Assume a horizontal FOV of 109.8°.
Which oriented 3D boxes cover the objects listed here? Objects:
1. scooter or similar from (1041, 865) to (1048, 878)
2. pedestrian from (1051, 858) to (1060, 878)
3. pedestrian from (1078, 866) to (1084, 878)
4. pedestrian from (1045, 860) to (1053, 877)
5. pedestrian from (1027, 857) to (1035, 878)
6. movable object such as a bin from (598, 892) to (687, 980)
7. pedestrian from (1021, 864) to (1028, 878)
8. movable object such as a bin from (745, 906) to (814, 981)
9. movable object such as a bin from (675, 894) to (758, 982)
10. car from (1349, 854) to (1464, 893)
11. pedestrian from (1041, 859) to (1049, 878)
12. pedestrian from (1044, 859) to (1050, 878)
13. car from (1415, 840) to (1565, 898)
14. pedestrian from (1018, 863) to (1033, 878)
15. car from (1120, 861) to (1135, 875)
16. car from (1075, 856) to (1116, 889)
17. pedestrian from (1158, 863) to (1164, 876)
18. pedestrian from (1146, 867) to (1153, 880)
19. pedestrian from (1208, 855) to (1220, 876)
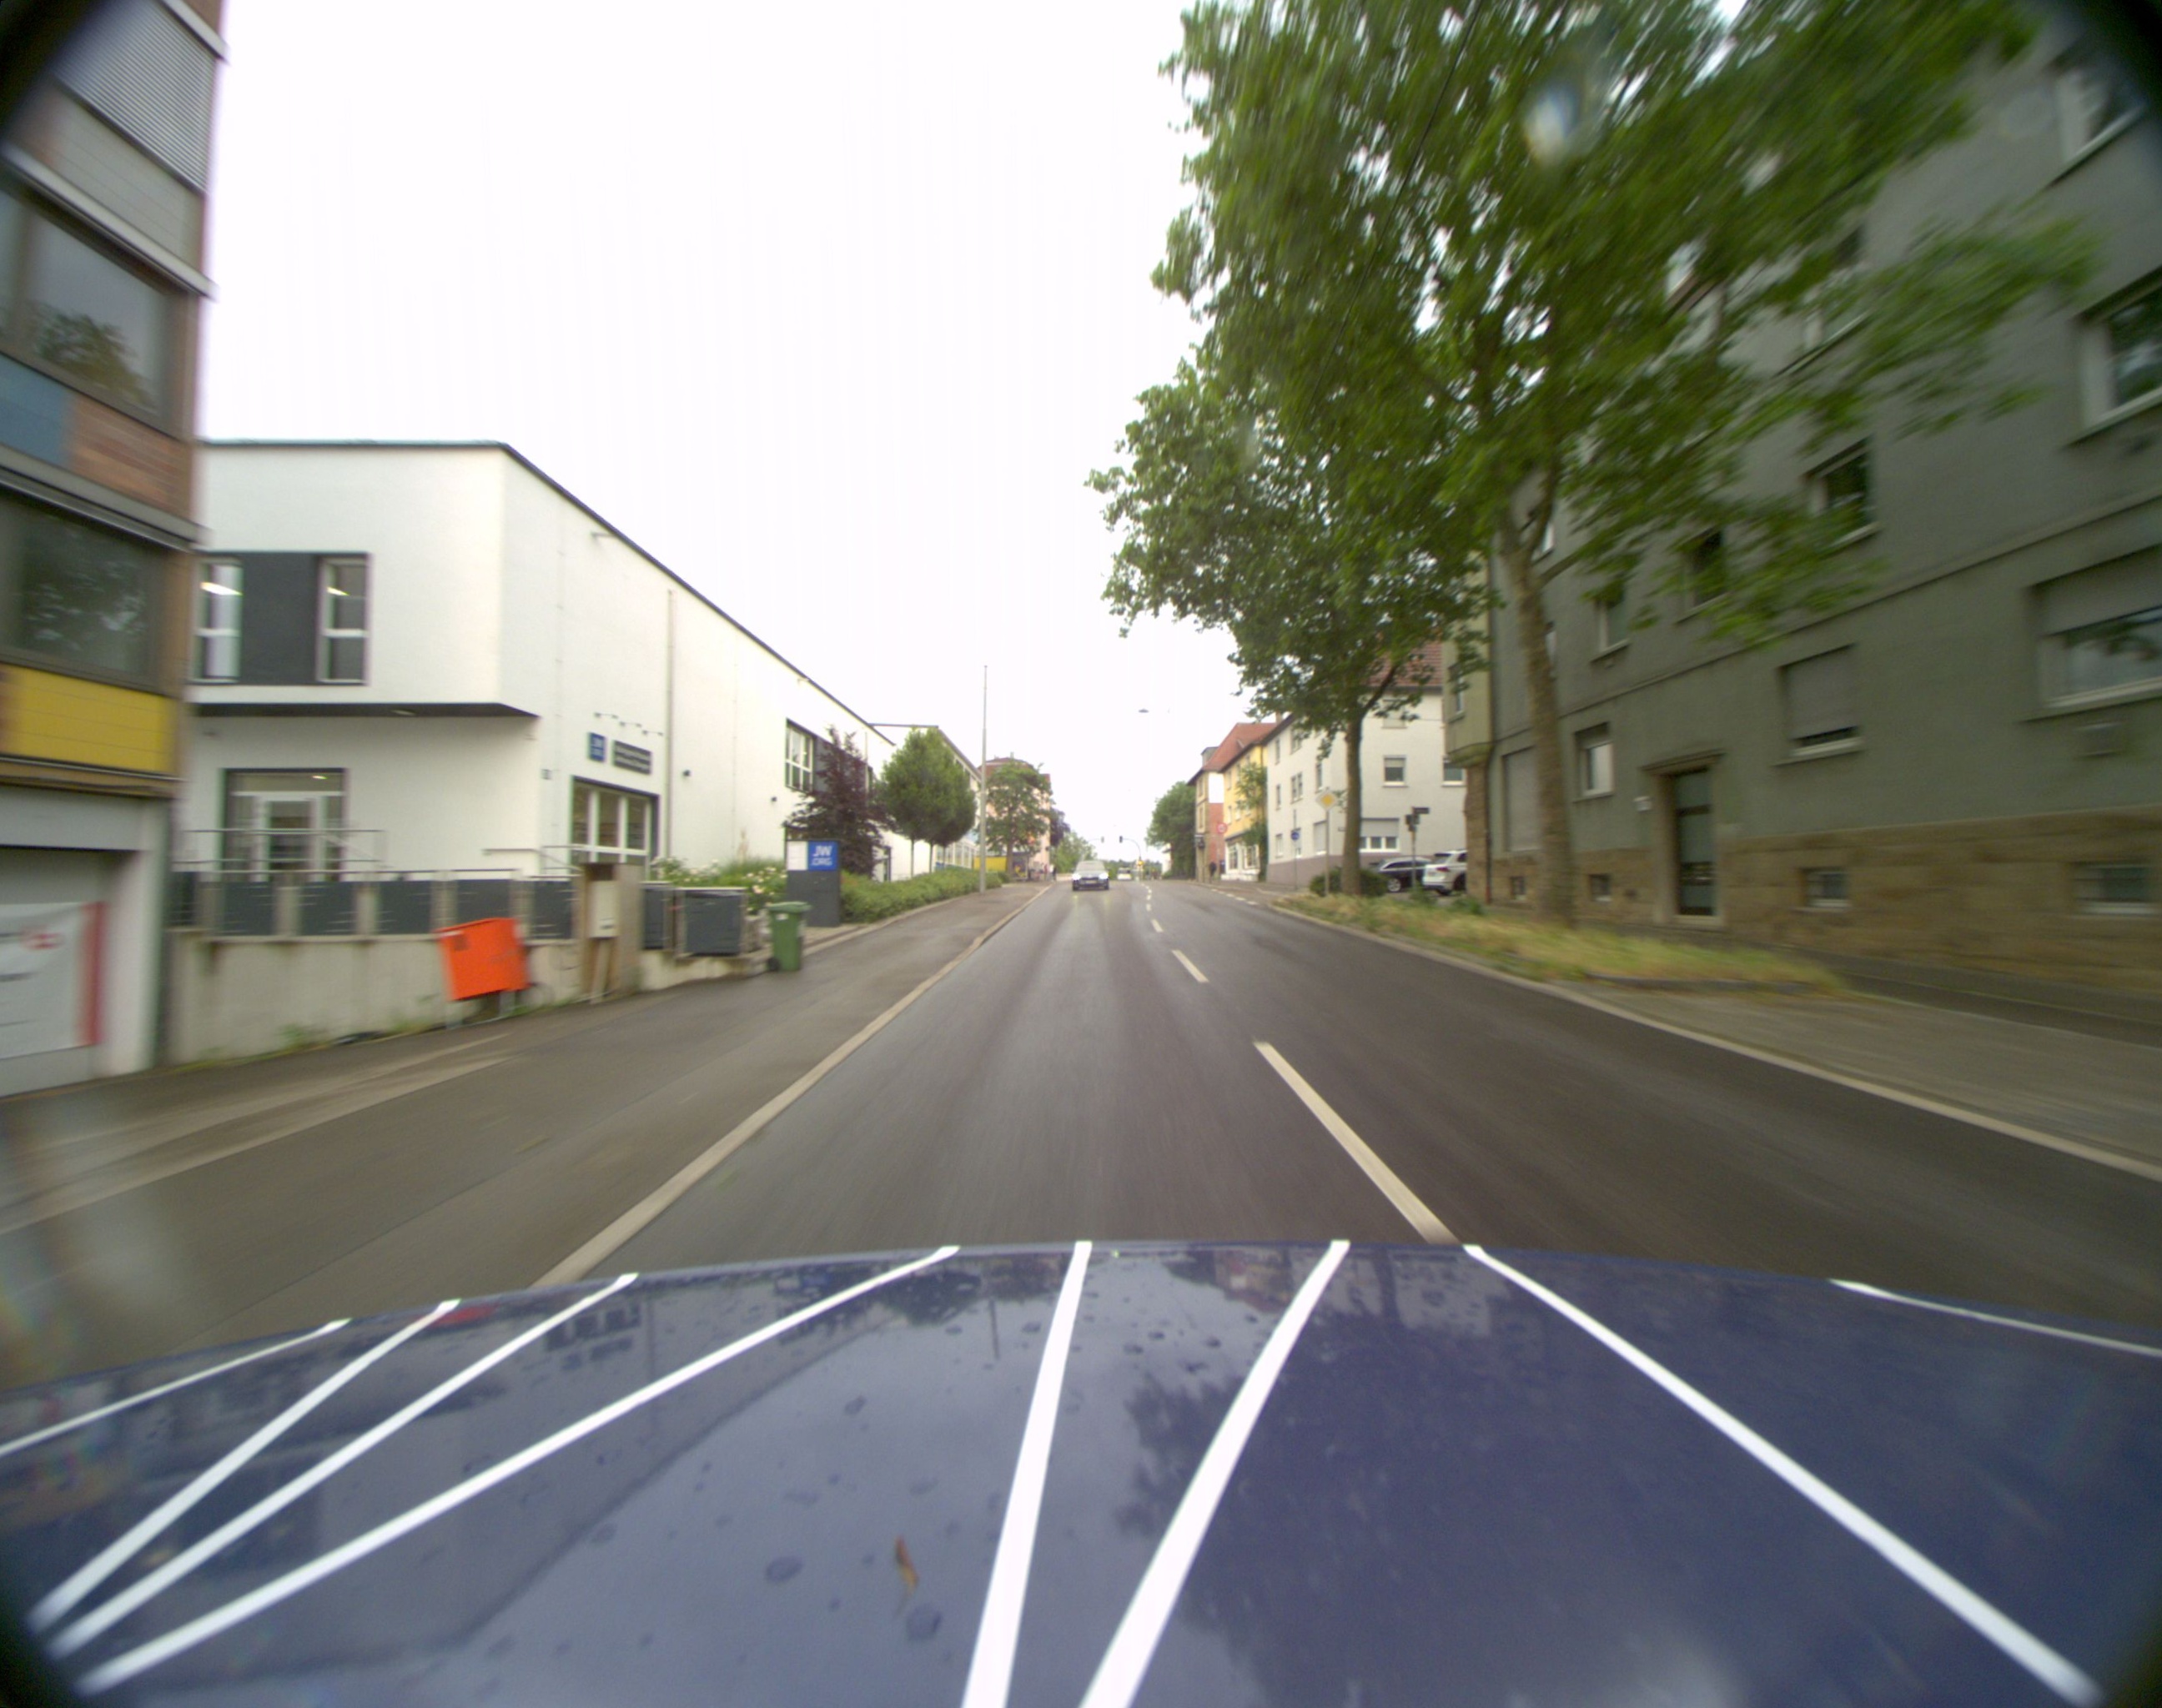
[{"bbox_3d":[-3.379,1.640,70.514,0.619,1.133,0.567,1,-1,-4],"label":"scooter or similar"},{"bbox_3d":[-2.535,1.377,74.677,0.634,1.864,0.486,3,-1,-42],"label":"pedestrian"},{"bbox_3d":[-0.040,2.458,104.405,0.786,1.632,1.222,-2,-1,1],"label":"pedestrian"},{"bbox_3d":[-3.095,1.402,74.280,0.446,1.697,0.559,1,-1,40],"label":"pedestrian"},{"bbox_3d":[-4.250,1.154,64.449,0.648,1.820,0.741,1,-1,-4],"label":"pedestrian"},{"bbox_3d":[-5.866,1.075,10.198,0.696,1.076,0.779,2,0,2],"label":"movable object such as a bin"},{"bbox_3d":[-5.088,1.523,68.463,0.662,1.191,0.741,1,-1,-4],"label":"pedestrian"},{"bbox_3d":[-4.095,1.205,10.370,0.621,0.931,0.686,2,0,2],"label":"movable object such as a bin"},{"bbox_3d":[-4.885,1.113,10.229,0.696,1.076,0.779,2,0,2],"label":"movable object such as a bin"},{"bbox_3d":[13.907,0.830,32.662,3.997,1.389,2.000,-4,-1,0],"label":"car"},{"bbox_3d":[-3.394,1.369,71.157,0.662,1.731,0.829,1,-1,-4],"label":"pedestrian"},{"bbox_3d":[-3.305,1.374,73.552,0.460,1.829,0.604,2,-1,-4],"label":"pedestrian"},{"bbox_3d":[14.500,0.534,27.149,4.192,1.693,2.000,-4,-1,1],"label":"car"},{"bbox_3d":[-4.886,1.447,66.924,1.359,1.265,0.741,1,-1,-4],"label":"pedestrian"},{"bbox_3d":[6.255,1.855,103.036,1.886,1.858,4.454,0,-1,1],"label":"car"},{"bbox_3d":[0.716,0.955,36.763,1.837,1.429,4.003,-1,-3,2],"label":"car"},{"bbox_3d":[11.865,2.272,112.584,0.808,1.810,1.117,-1,-3,1],"label":"pedestrian"},{"bbox_3d":[10.273,2.892,113.881,0.864,1.870,1.044,0,-3,0],"label":"pedestrian"},{"bbox_3d":[11.035,0.962,63.028,0.817,1.669,0.993,-2,0,-1],"label":"pedestrian"}]
